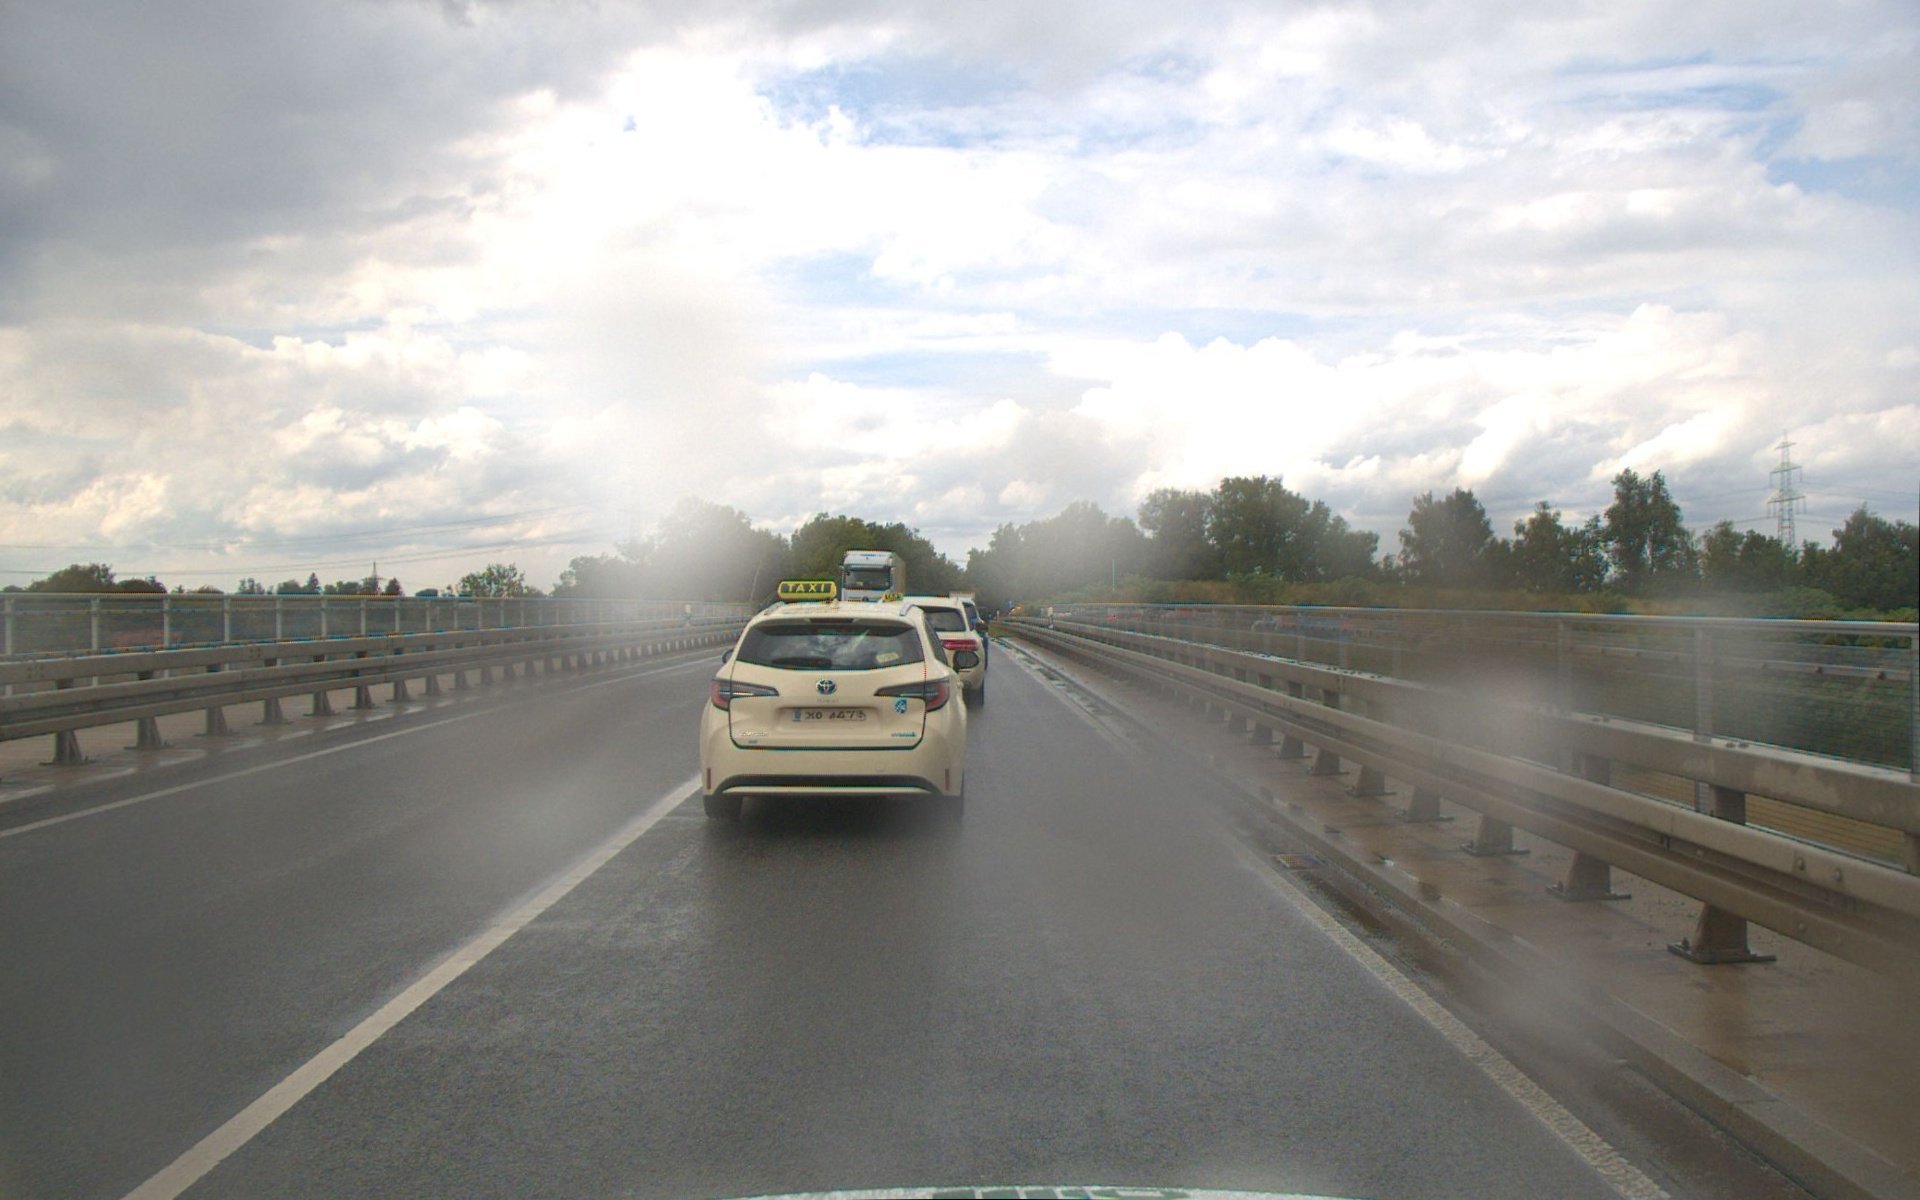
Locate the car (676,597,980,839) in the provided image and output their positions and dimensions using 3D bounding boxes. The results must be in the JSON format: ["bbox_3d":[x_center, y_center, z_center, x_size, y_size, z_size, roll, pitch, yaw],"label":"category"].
[{"bbox_3d":[-0.819,0.713,12.113,1.816,1.418,4.170,1,0,-1],"label":"car"}]

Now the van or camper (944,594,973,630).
[{"bbox_3d":[-0.161,0.966,137.992,2.285,2.914,6.305,1,0,0],"label":"van or camper"}]

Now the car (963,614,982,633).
[{"bbox_3d":[1.410,2.615,183.817,1.953,2.049,3.999,1,0,-1],"label":"car"}]

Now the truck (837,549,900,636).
[{"bbox_3d":[-4.522,-0.378,83.719,2.628,4.087,10.054,1,0,0],"label":"truck"}]

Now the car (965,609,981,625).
[{"bbox_3d":[1.648,2.177,212.601,1.953,2.049,3.999,1,0,-1],"label":"car"}]

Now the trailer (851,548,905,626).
[{"bbox_3d":[-4.542,-0.693,92.975,2.628,4.146,8.484,1,0,0],"label":"trailer"}]

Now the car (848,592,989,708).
[{"bbox_3d":[-0.556,0.638,23.602,1.816,1.468,4.170,1,0,-1],"label":"car"}]

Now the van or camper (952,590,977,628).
[{"bbox_3d":[0.445,0.851,160.704,2.285,3.625,6.305,1,0,0],"label":"van or camper"}]

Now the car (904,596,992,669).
[{"bbox_3d":[-0.266,0.674,36.701,1.816,1.468,4.170,1,0,-1],"label":"car"}]
